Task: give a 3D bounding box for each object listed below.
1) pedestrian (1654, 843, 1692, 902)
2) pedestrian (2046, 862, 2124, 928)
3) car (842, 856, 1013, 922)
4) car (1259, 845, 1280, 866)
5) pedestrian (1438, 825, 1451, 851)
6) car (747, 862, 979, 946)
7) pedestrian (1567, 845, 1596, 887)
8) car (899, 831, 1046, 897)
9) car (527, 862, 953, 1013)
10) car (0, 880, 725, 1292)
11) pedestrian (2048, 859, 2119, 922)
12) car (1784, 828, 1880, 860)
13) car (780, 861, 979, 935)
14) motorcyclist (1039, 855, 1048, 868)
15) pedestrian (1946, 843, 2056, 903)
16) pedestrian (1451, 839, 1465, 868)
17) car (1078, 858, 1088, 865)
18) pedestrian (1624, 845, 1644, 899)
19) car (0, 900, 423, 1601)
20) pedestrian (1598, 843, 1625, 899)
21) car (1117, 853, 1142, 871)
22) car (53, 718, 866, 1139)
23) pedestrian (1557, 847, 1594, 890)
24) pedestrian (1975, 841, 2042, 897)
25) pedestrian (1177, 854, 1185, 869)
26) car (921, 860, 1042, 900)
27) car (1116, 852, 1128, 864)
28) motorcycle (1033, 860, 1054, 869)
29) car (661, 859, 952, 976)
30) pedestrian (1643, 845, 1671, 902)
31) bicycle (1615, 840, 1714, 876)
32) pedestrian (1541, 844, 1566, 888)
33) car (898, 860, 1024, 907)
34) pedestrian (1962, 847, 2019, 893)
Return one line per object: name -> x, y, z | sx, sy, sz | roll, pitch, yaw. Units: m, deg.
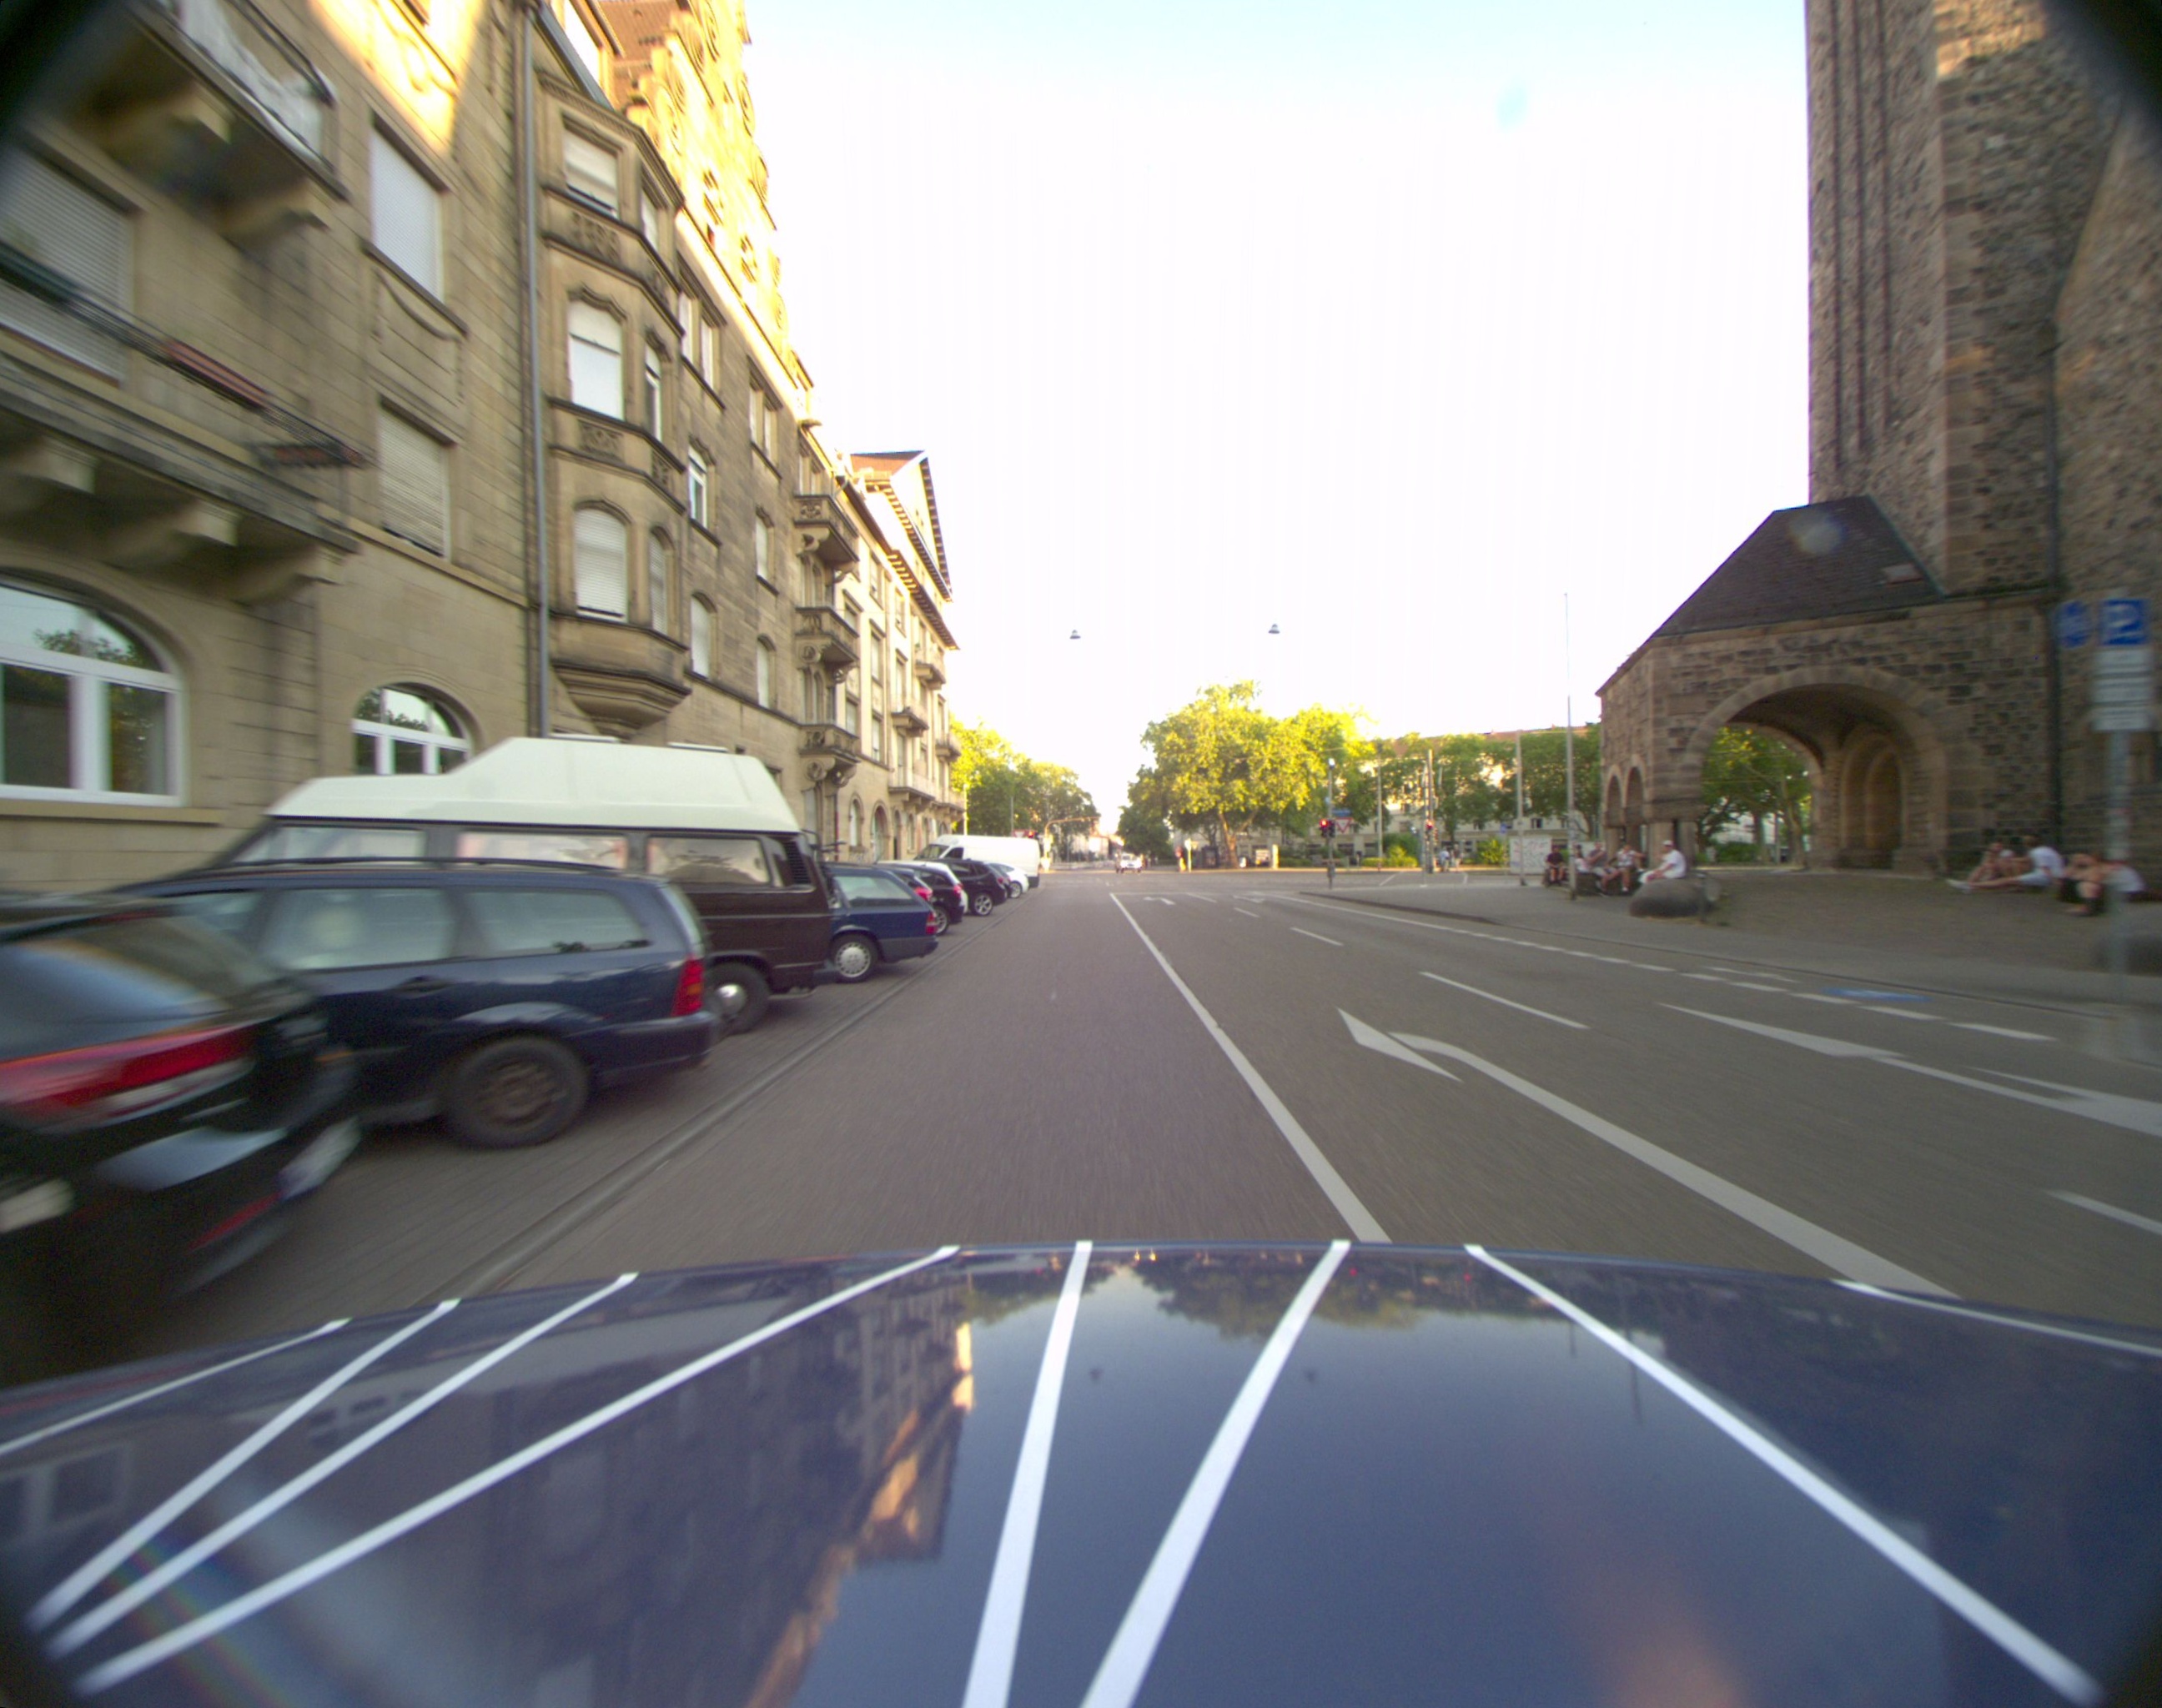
pedestrian -> 14.337, 0.435, 18.419 | 0.702, 1.398, 0.633 | 0, 1, 36
pedestrian -> 15.611, 0.617, 11.819 | 0.562, 0.986, 0.694 | -1, 1, -33
car -> -4.095, 0.889, 20.546 | 4.107, 1.598, 1.811 | 1, 0, -37
car -> 18.915, 0.151, 76.150 | 1.865, 2.002, 3.815 | -1, 0, 15
pedestrian -> 23.832, -1.047, 49.821 | 0.718, 1.624, 1.008 | -1, 0, 21
car -> -4.285, 0.930, 15.114 | 4.042, 1.423, 1.863 | 2, 0, -33
pedestrian -> 16.647, 0.402, 25.273 | 0.801, 1.366, 0.701 | 0, 1, 34
car -> -4.551, 0.381, 32.449 | 5.897, 2.537, 2.189 | 0, 2, -40
car -> -4.031, 0.895, 9.452 | 4.406, 1.478, 1.839 | 2, 0, -30
car -> -4.333, 0.971, 4.005 | 4.363, 1.494, 1.909 | -1, 0, -27
pedestrian -> 16.089, 0.569, 12.195 | 0.562, 0.962, 0.648 | -1, 1, -33
car -> 65.401, -0.838, 66.284 | 5.566, 2.603, 2.003 | -1, 0, 24
car -> -4.613, 0.945, 17.580 | 4.066, 1.489, 1.749 | 1, 0, -35
motorcyclist -> -4.185, 0.843, 85.694 | 0.830, 1.510, 0.622 | -1, 0, -25
pedestrian -> 17.726, 0.351, 14.662 | 0.686, 1.088, 1.329 | -1, 1, -39
pedestrian -> 24.499, -0.015, 49.351 | 0.709, 1.836, 1.161 | -1, 0, 21
car -> 0.483, 1.581, 162.023 | 1.794, 1.571, 4.001 | -1, 0, 4
pedestrian -> 14.440, 0.455, 19.854 | 0.401, 1.398, 0.549 | 0, 1, 36
car -> -4.292, 0.970, 1.624 | 4.076, 1.483, 1.720 | -1, 0, -30
pedestrian -> 13.971, 0.447, 20.009 | 0.549, 1.445, 0.559 | 0, 1, 36
car -> 4.300, 0.706, 68.232 | 1.841, 1.549, 3.999 | -1, 0, -2
car -> -4.481, 0.411, 6.524 | 4.732, 2.532, 1.914 | -1, 1, -28
pedestrian -> 16.022, 0.470, 24.629 | 0.700, 1.366, 0.801 | -1, 1, -38
pedestrian -> 18.330, 0.293, 15.023 | 0.649, 1.069, 0.828 | -1, 1, -39
pedestrian -> 10.596, 0.818, 80.622 | 0.745, 1.619, 0.660 | -1, 0, 18
car -> -3.862, 0.964, 29.727 | 4.263, 1.445, 1.994 | 0, 1, -38
car -> 7.449, 0.717, 138.160 | 1.991, 1.945, 4.597 | -1, 0, 4
motorcycle -> -4.209, 1.210, 85.684 | 2.288, 0.917, 0.622 | -1, 0, -25
car -> -4.344, 0.890, 12.183 | 4.128, 1.537, 1.790 | 0, 2, -27
pedestrian -> 14.441, 0.474, 19.055 | 0.546, 1.398, 0.459 | 0, 1, 36
bicycle -> 17.435, 0.123, 22.758 | 2.281, 1.051, 0.596 | -1, 1, 18
pedestrian -> 15.936, 0.398, 25.617 | 0.628, 1.445, 0.917 | -1, 1, 27
car -> -4.165, 0.986, 26.582 | 3.925, 1.438, 1.869 | 1, 2, -39
pedestrian -> 18.705, 0.317, 15.626 | 0.649, 0.910, 0.738 | -1, 1, -39
